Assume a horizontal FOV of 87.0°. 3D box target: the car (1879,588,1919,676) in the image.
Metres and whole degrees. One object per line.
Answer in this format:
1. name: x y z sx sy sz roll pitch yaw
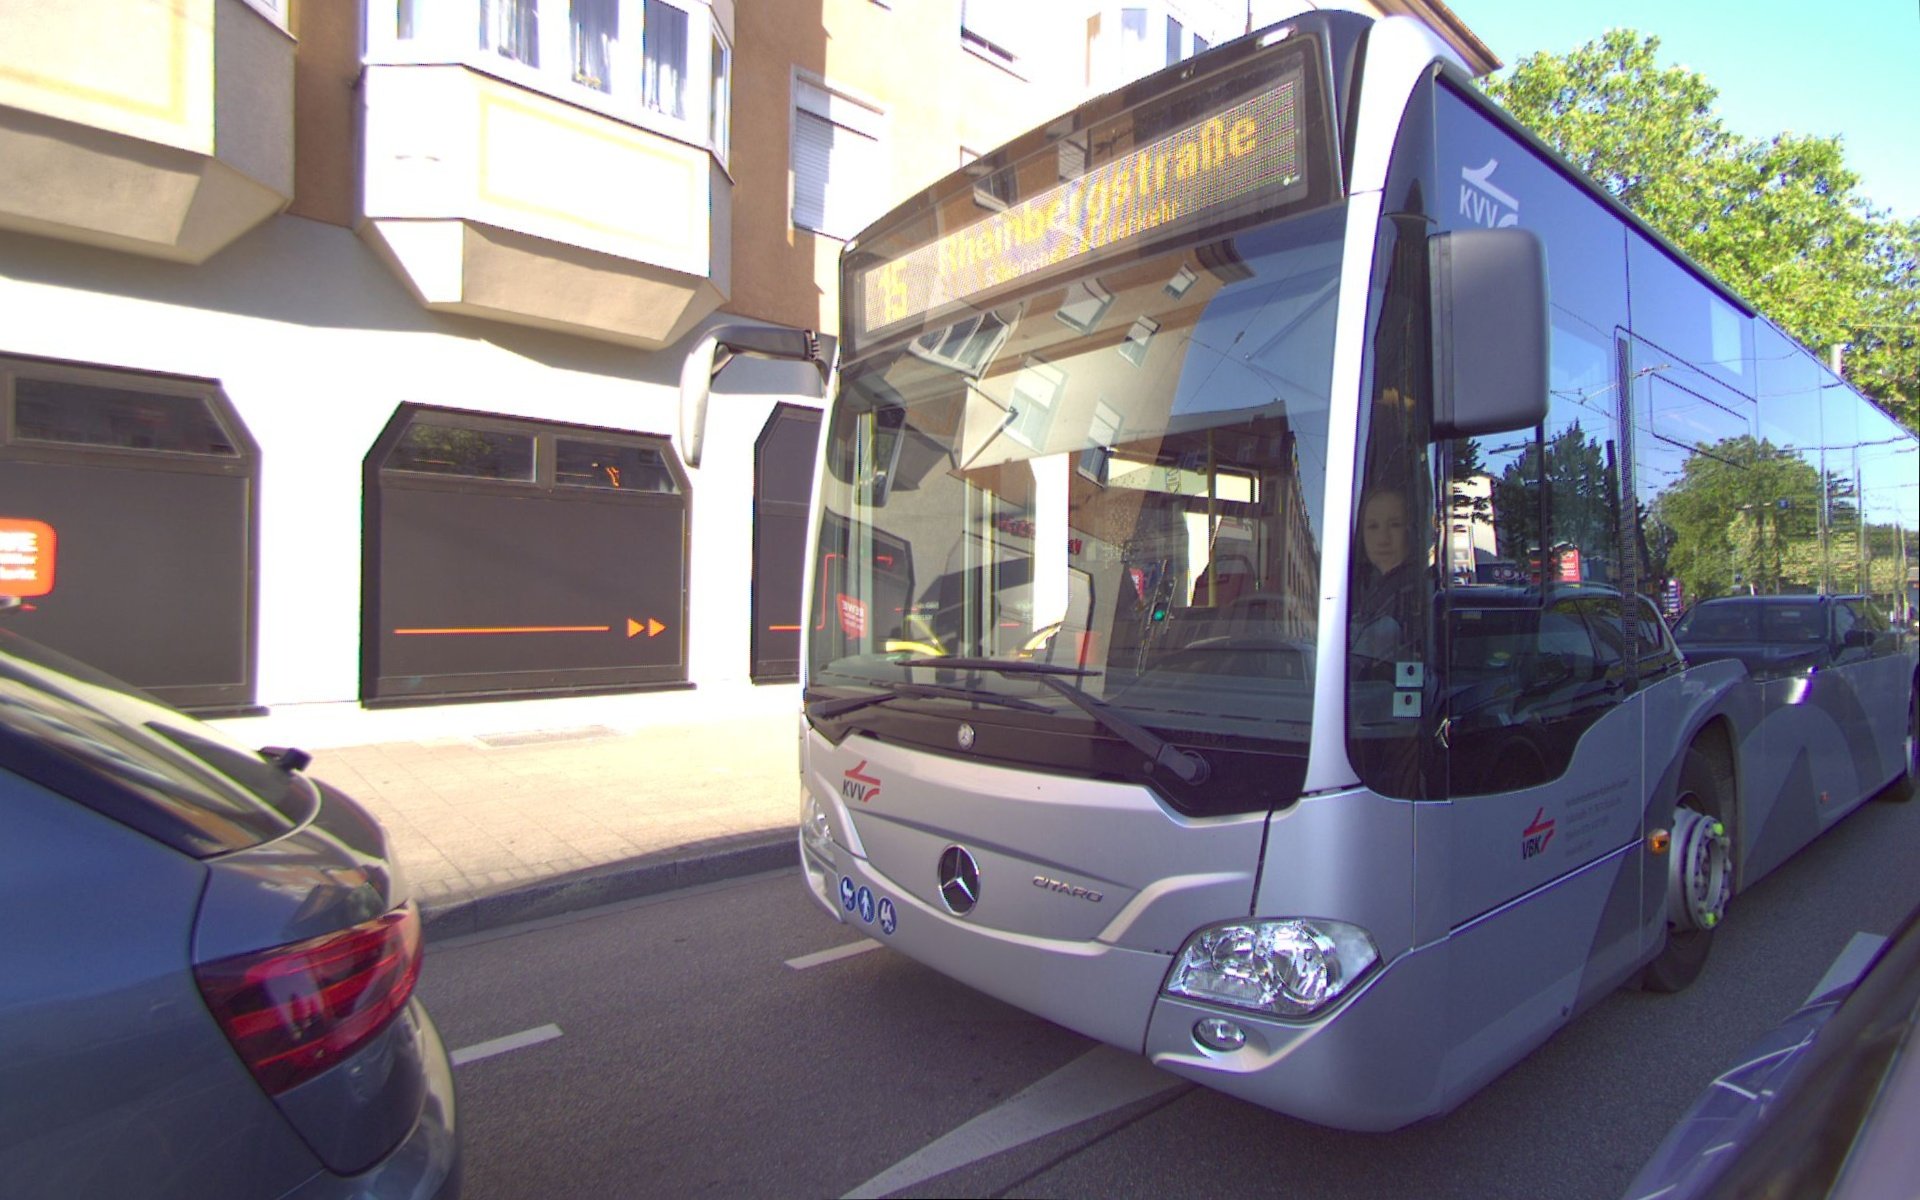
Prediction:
1. car: 19.474 0.576 19.894 3.759 1.628 1.747 -1 0 -43

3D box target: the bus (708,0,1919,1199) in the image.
1. bus: 6.454 -0.147 8.709 17.432 3.189 2.771 0 1 -41

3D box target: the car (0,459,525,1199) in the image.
1. car: -2.669 0.650 0.573 4.151 1.572 1.700 0 0 -41
